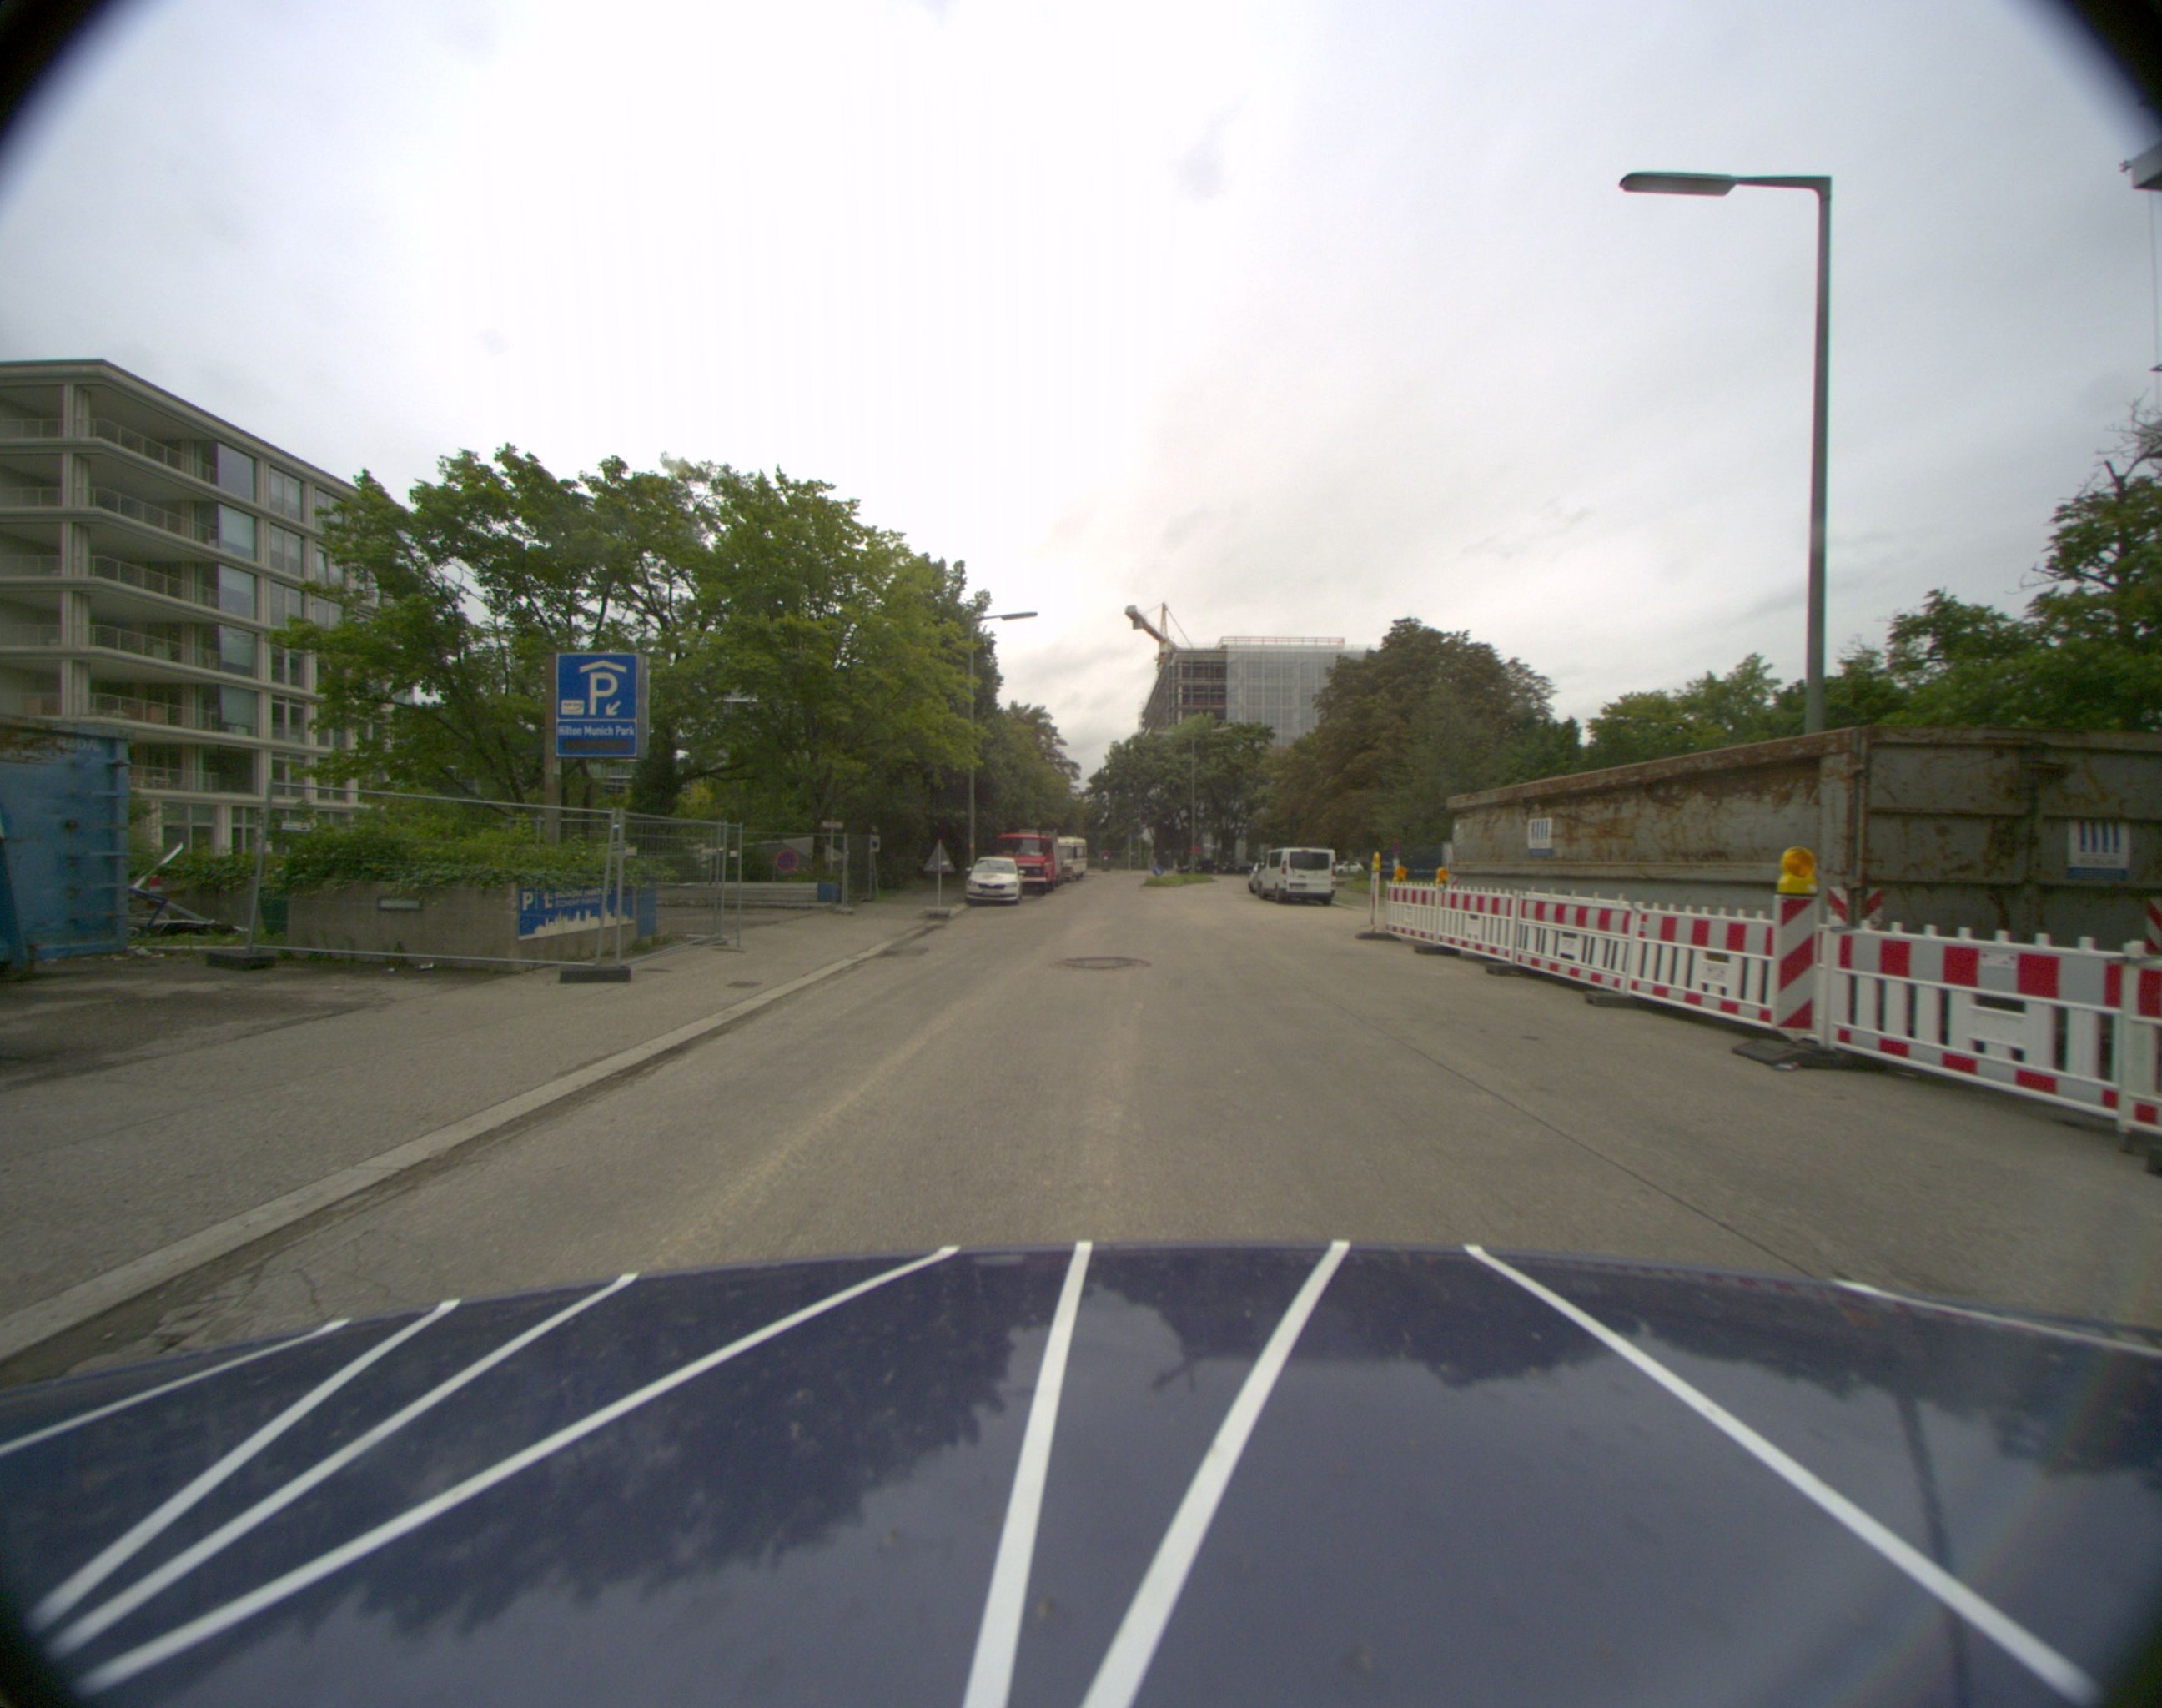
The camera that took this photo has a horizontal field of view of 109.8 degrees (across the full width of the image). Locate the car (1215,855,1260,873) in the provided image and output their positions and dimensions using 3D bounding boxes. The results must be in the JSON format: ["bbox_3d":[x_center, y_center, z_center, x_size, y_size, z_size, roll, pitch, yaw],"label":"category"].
[{"bbox_3d":[14.884,0.958,72.134,3.892,1.564,1.785,0,2,-27],"label":"car"}]

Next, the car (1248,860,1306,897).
[{"bbox_3d":[8.796,1.049,34.420,1.997,1.450,4.121,2,1,7],"label":"car"}]

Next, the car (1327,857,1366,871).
[{"bbox_3d":[27.458,0.996,78.535,3.724,1.379,1.517,0,2,-22],"label":"car"}]

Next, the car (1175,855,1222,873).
[{"bbox_3d":[10.834,0.917,70.108,3.891,1.564,1.786,0,2,-22],"label":"car"}]

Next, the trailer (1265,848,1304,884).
[{"bbox_3d":[12.887,0.724,48.047,1.778,2.169,2.782,2,1,27],"label":"trailer"}]

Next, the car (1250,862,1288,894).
[{"bbox_3d":[9.575,1.169,38.946,1.739,1.450,4.035,3,1,13],"label":"car"}]

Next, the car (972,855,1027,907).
[{"bbox_3d":[-2.633,0.841,25.218,1.536,1.483,4.059,0,1,-2],"label":"car"}]

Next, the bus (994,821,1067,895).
[{"bbox_3d":[-1.970,0.129,31.875,2.077,2.789,6.274,1,0,5],"label":"bus"}]

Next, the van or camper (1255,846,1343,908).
[{"bbox_3d":[7.979,0.791,28.405,1.993,2.022,5.588,2,0,4],"label":"van or camper"}]

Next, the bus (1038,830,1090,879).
[{"bbox_3d":[-0.927,0.021,45.797,2.076,2.714,5.871,1,0,9],"label":"bus"}]

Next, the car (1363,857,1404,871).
[{"bbox_3d":[31.826,1.022,79.959,3.722,1.379,1.518,1,2,-15],"label":"car"}]

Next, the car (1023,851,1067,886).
[{"bbox_3d":[-1.725,0.689,37.795,1.782,1.630,4.398,1,0,3],"label":"car"}]
